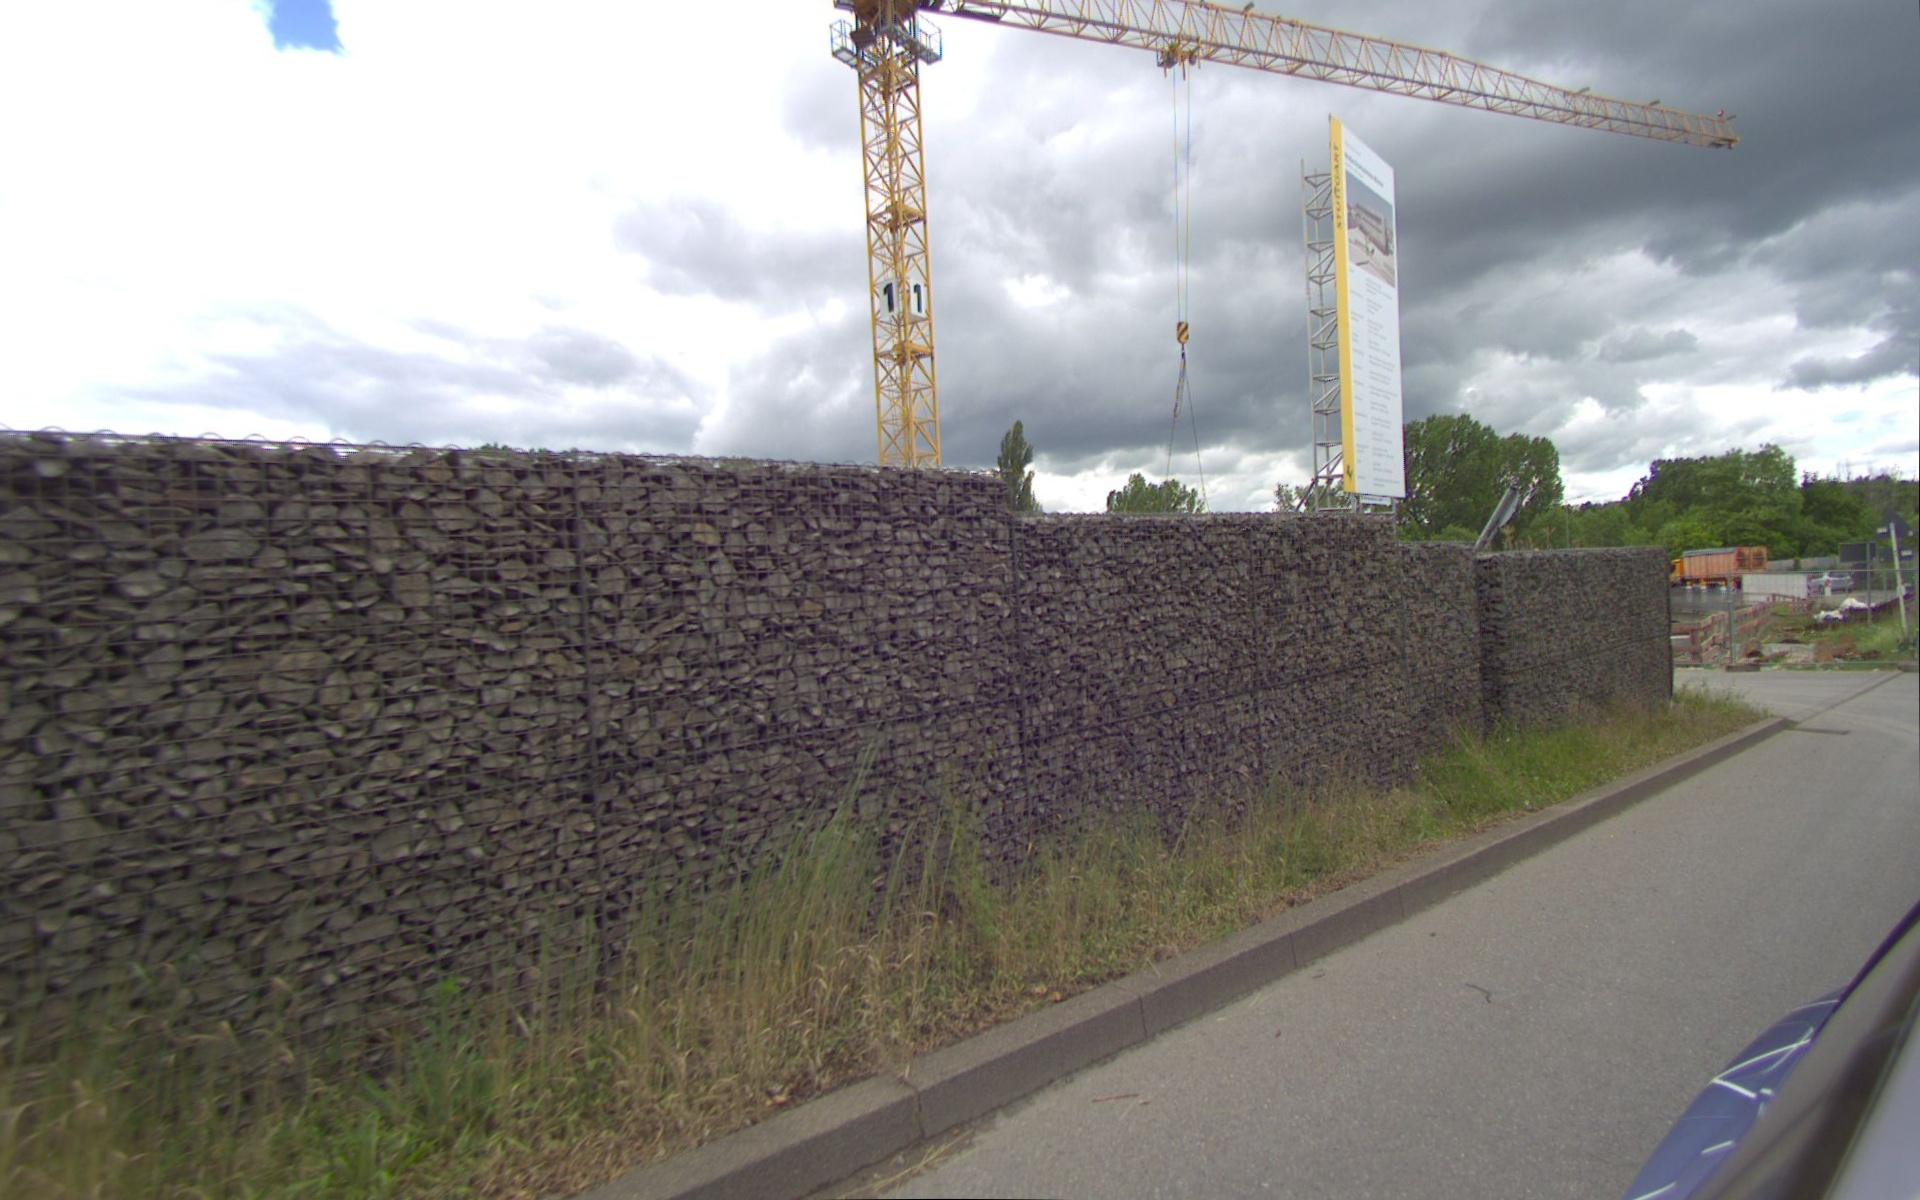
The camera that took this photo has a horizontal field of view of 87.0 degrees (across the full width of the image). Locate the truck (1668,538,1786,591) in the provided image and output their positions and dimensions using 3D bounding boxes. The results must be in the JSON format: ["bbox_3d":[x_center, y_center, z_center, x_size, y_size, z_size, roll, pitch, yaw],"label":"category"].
[{"bbox_3d":[64.147,-2.837,85.023,2.989,3.947,9.984,-3,0,7],"label":"truck"}]

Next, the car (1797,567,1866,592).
[{"bbox_3d":[61.687,-1.415,71.688,1.865,1.583,4.085,-3,0,12],"label":"car"}]
